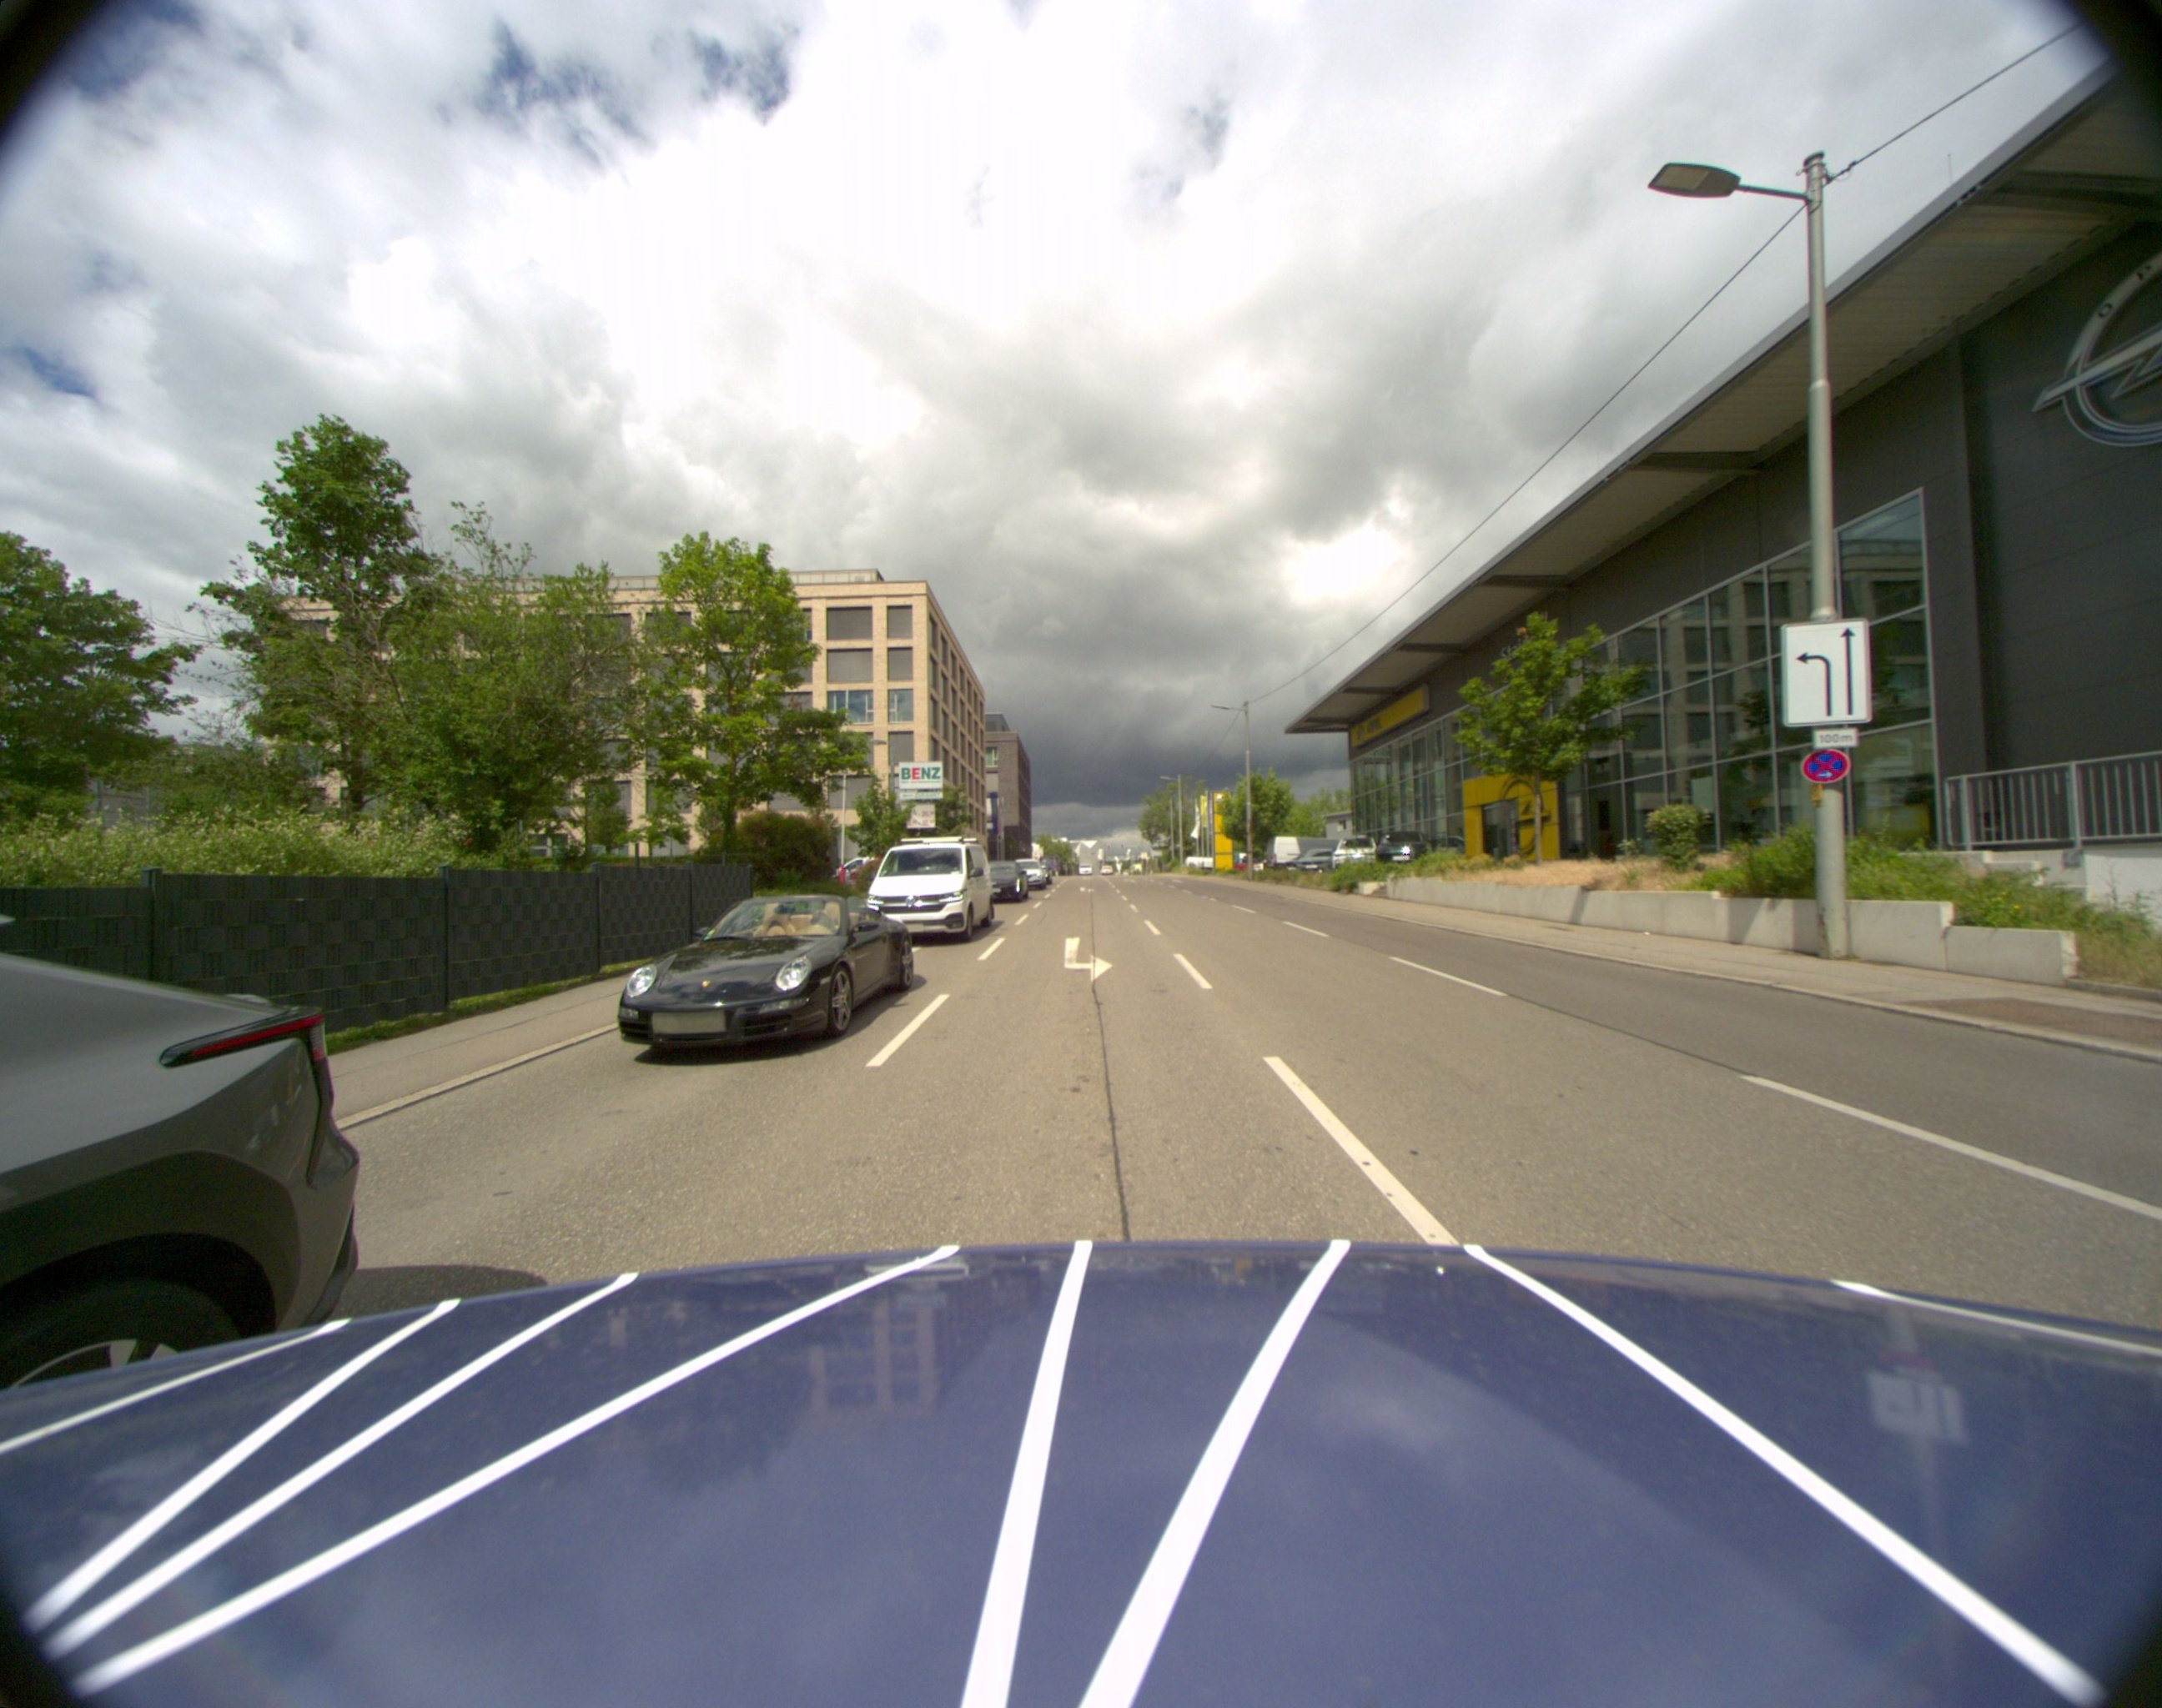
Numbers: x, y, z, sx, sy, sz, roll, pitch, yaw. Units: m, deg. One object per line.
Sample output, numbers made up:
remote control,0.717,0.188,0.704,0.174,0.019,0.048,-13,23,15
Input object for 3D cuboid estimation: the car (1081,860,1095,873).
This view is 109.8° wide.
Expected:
car,1.044,1.864,117.171,1.998,1.819,4.547,-2,0,2

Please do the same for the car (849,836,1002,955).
car,-3.013,0.733,15.894,2.089,2.037,4.760,-2,0,1

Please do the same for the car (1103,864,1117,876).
car,4.496,2.443,116.807,1.998,1.731,4.547,-2,0,1

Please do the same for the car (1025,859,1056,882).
car,-2.451,0.988,47.105,1.662,1.351,4.000,-1,0,1

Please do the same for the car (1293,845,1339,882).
car,12.113,0.467,39.017,1.995,1.783,4.006,-1,0,21

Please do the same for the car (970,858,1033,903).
car,-2.824,0.913,27.893,1.818,1.454,4.000,-1,0,1

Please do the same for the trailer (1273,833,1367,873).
trailer,14.458,-0.069,46.176,5.074,2.336,2.000,-1,1,-1

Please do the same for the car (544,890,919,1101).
car,-3.037,1.153,7.677,1.824,1.286,4.038,-2,0,1

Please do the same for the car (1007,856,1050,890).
car,-2.587,0.896,38.433,1.818,1.577,4.000,-1,0,1

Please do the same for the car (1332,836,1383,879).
car,12.173,0.128,33.443,1.995,1.783,4.006,-1,0,21

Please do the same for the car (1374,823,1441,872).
car,12.341,-0.253,28.933,1.996,1.718,4.005,-1,0,18

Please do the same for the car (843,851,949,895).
car,-7.623,0.763,31.659,3.998,1.723,1.822,-1,1,-3
